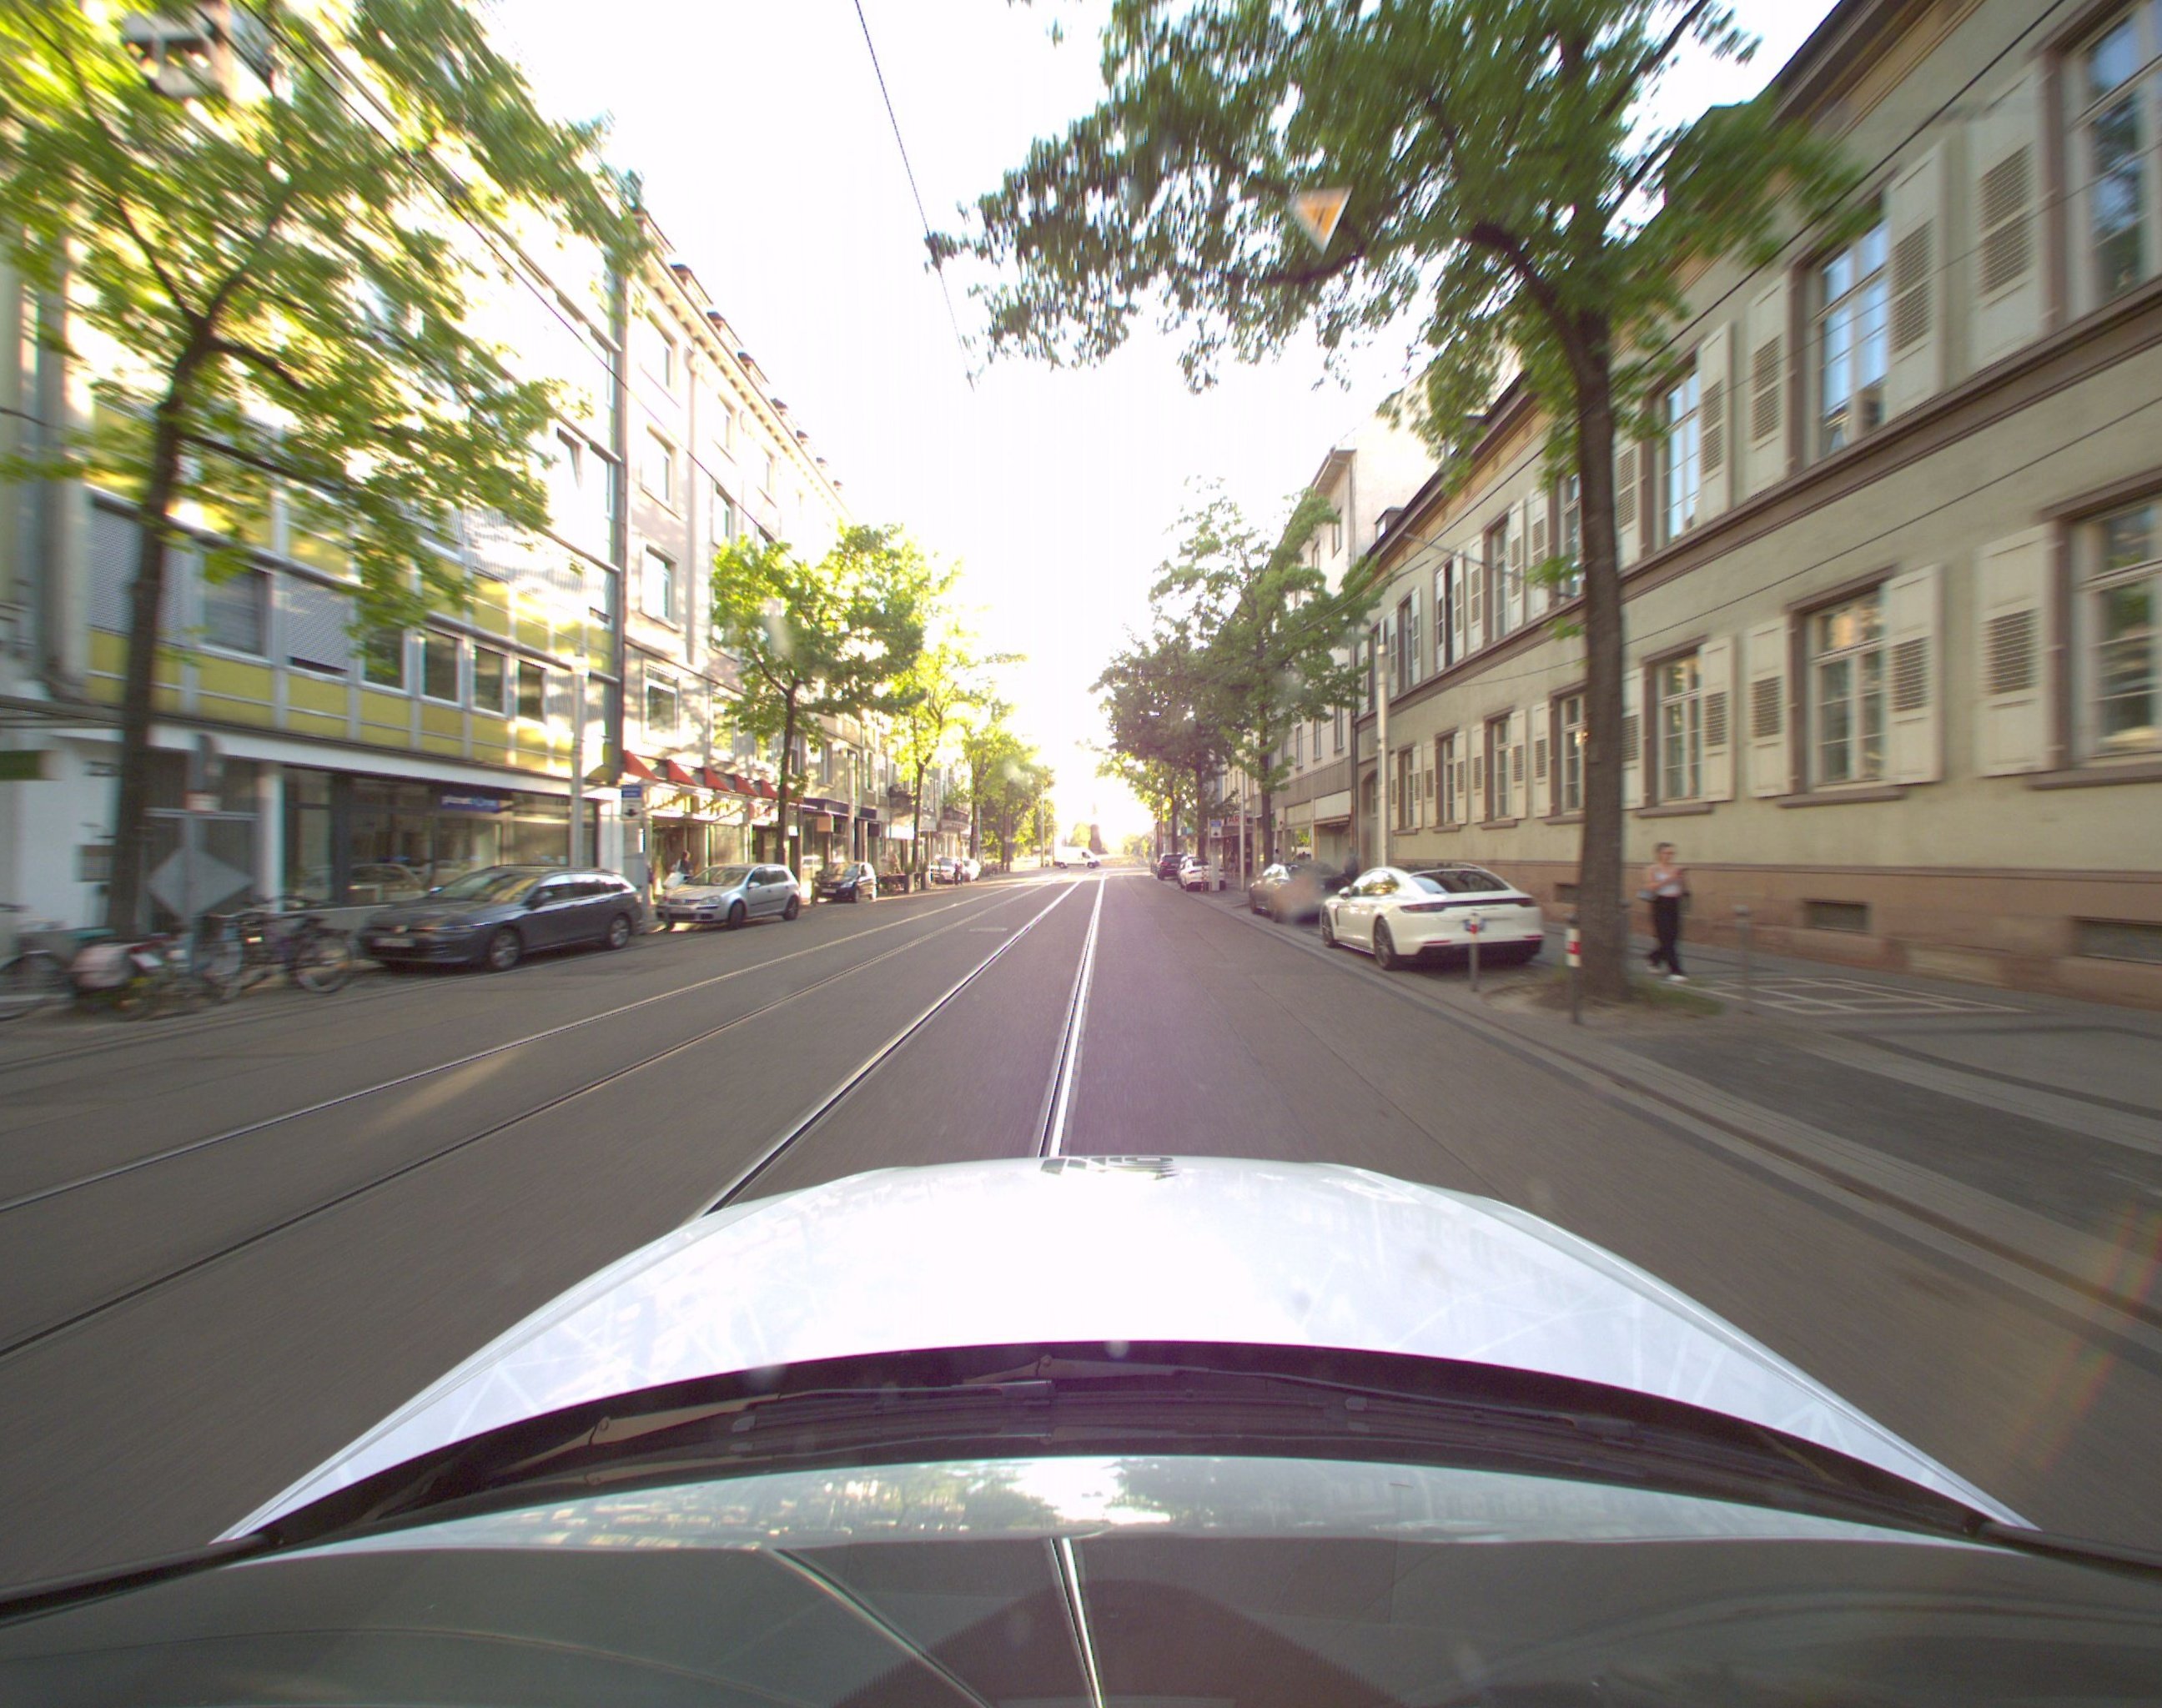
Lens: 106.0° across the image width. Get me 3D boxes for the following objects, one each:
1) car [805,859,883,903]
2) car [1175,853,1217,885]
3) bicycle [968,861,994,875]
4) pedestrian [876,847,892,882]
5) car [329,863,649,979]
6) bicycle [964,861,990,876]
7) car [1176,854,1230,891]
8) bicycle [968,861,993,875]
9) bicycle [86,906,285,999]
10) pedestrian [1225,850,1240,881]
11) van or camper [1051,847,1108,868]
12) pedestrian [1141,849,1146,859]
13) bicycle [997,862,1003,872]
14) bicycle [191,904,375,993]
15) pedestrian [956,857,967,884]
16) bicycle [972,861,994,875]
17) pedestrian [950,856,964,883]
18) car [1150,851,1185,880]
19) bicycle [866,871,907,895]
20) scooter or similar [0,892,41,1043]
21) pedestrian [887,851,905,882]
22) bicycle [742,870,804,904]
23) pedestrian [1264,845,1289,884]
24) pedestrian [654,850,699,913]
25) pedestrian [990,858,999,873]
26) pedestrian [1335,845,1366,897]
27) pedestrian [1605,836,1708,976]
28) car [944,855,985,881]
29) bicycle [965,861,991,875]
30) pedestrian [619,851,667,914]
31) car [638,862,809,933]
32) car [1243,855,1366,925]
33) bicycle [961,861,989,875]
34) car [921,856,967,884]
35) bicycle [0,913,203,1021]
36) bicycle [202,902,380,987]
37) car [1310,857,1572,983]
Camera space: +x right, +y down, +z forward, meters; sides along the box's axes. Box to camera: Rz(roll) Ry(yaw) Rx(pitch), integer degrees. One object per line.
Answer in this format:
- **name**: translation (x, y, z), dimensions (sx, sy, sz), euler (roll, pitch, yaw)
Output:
- **car**: translation (-8.683, 0.942, 30.146), dimensions (1.660, 1.428, 3.828), euler (2, 0, 1)
- **car**: translation (6.475, 0.808, 46.167), dimensions (1.770, 1.591, 3.892), euler (-4, 0, 1)
- **bicycle**: translation (-8.100, 1.146, 66.231), dimensions (2.014, 1.105, 0.501), euler (1, -1, 4)
- **pedestrian**: translation (-11.504, 0.593, 47.502), dimensions (0.719, 2.013, 0.643), euler (0, 0, 1)
- **car**: translation (-9.057, 0.918, 13.060), dimensions (1.705, 1.461, 4.488), euler (1, 0, 2)
- **bicycle**: translation (-8.270, 1.157, 64.702), dimensions (2.032, 1.105, 0.497), euler (2, -1, -24)
- **car**: translation (5.660, 0.822, 38.297), dimensions (1.986, 1.498, 4.682), euler (-4, 0, 2)
- **bicycle**: translation (-8.241, 1.144, 66.821), dimensions (2.014, 1.105, 0.501), euler (1, -1, 4)
- **bicycle**: translation (-10.130, 1.100, 9.226), dimensions (1.961, 1.001, 0.420), euler (0, 0, 6)
- **pedestrian**: translation (8.513, 0.630, 45.812), dimensions (0.641, 1.670, 0.786), euler (-4, 0, 1)
- **van or camper**: translation (-0.152, 0.419, 96.855), dimensions (6.261, 2.472, 2.623), euler (-1, 0, 9)
- **pedestrian**: translation (9.616, -0.004, 125.710), dimensions (0.631, 1.606, 0.774), euler (-1, 0, 14)
- **bicycle**: translation (-7.821, 1.256, 78.420), dimensions (0.335, 0.946, 1.511), euler (-1, 0, 3)
- **bicycle**: translation (-9.450, 1.110, 9.653), dimensions (1.962, 1.001, 0.331), euler (0, 0, 4)
- **pedestrian**: translation (-6.956, 0.961, 47.553), dimensions (0.519, 1.569, 0.634), euler (-1, -1, 2)
- **bicycle**: translation (-8.165, 1.139, 67.691), dimensions (2.004, 1.105, 0.504), euler (0, -1, 36)
- **pedestrian**: translation (-7.127, 0.903, 46.740), dimensions (0.617, 1.509, 0.730), euler (-1, -1, 2)
- **car**: translation (5.885, 0.742, 55.995), dimensions (1.931, 1.759, 4.681), euler (-4, 0, 2)
- **bicycle**: translation (-8.213, 1.211, 34.434), dimensions (1.607, 0.965, 0.433), euler (1, 0, 7)
- **scooter or similar**: translation (-9.944, 0.964, 7.085), dimensions (1.412, 1.270, 0.375), euler (1, 0, 5)
- **pedestrian**: translation (-10.733, 0.704, 47.221), dimensions (0.719, 1.760, 1.090), euler (0, 0, 2)
- **bicycle**: translation (-9.913, 1.063, 26.218), dimensions (1.807, 1.065, 0.439), euler (0, 0, -7)
- **pedestrian**: translation (9.117, 0.490, 38.040), dimensions (0.855, 1.753, 0.933), euler (-4, 0, 1)
- **pedestrian**: translation (-11.231, 0.754, 22.625), dimensions (0.841, 1.693, 0.740), euler (-1, 0, 1)
- **pedestrian**: translation (-7.738, 1.030, 73.110), dimensions (0.726, 1.290, 0.856), euler (0, 0, -1)
- **pedestrian**: translation (8.812, 0.547, 26.631), dimensions (0.655, 1.665, 0.888), euler (-3, 0, 1)
- **pedestrian**: translation (6.748, 0.590, 9.578), dimensions (0.646, 1.573, 0.799), euler (0, 0, 1)
- **car**: translation (-7.823, 0.932, 55.108), dimensions (1.829, 1.580, 4.704), euler (3, 0, 2)
- **bicycle**: translation (-8.267, 1.148, 65.355), dimensions (2.032, 1.105, 0.497), euler (2, -1, -24)
- **pedestrian**: translation (-12.100, 0.779, 22.527), dimensions (0.786, 1.693, 0.914), euler (-1, 0, 1)
- **car**: translation (-8.369, 0.945, 19.547), dimensions (1.756, 1.497, 4.185), euler (0, 0, 9)
- **car**: translation (5.452, 0.797, 20.513), dimensions (1.826, 1.478, 4.762), euler (-3, 0, 1)
- **bicycle**: translation (-8.316, 1.110, 64.130), dimensions (2.117, 1.105, 0.497), euler (2, -1, -24)
- **car**: translation (-8.345, 0.953, 49.933), dimensions (1.829, 1.580, 4.118), euler (3, 0, 2)
- **bicycle**: translation (-9.686, 1.096, 7.964), dimensions (1.962, 1.001, 0.331), euler (0, 0, 4)
- **bicycle**: translation (-9.737, 1.112, 10.046), dimensions (1.962, 1.001, 0.331), euler (0, 0, 3)
- **car**: translation (5.043, 0.809, 12.320), dimensions (1.905, 1.420, 4.890), euler (-3, 0, 2)
